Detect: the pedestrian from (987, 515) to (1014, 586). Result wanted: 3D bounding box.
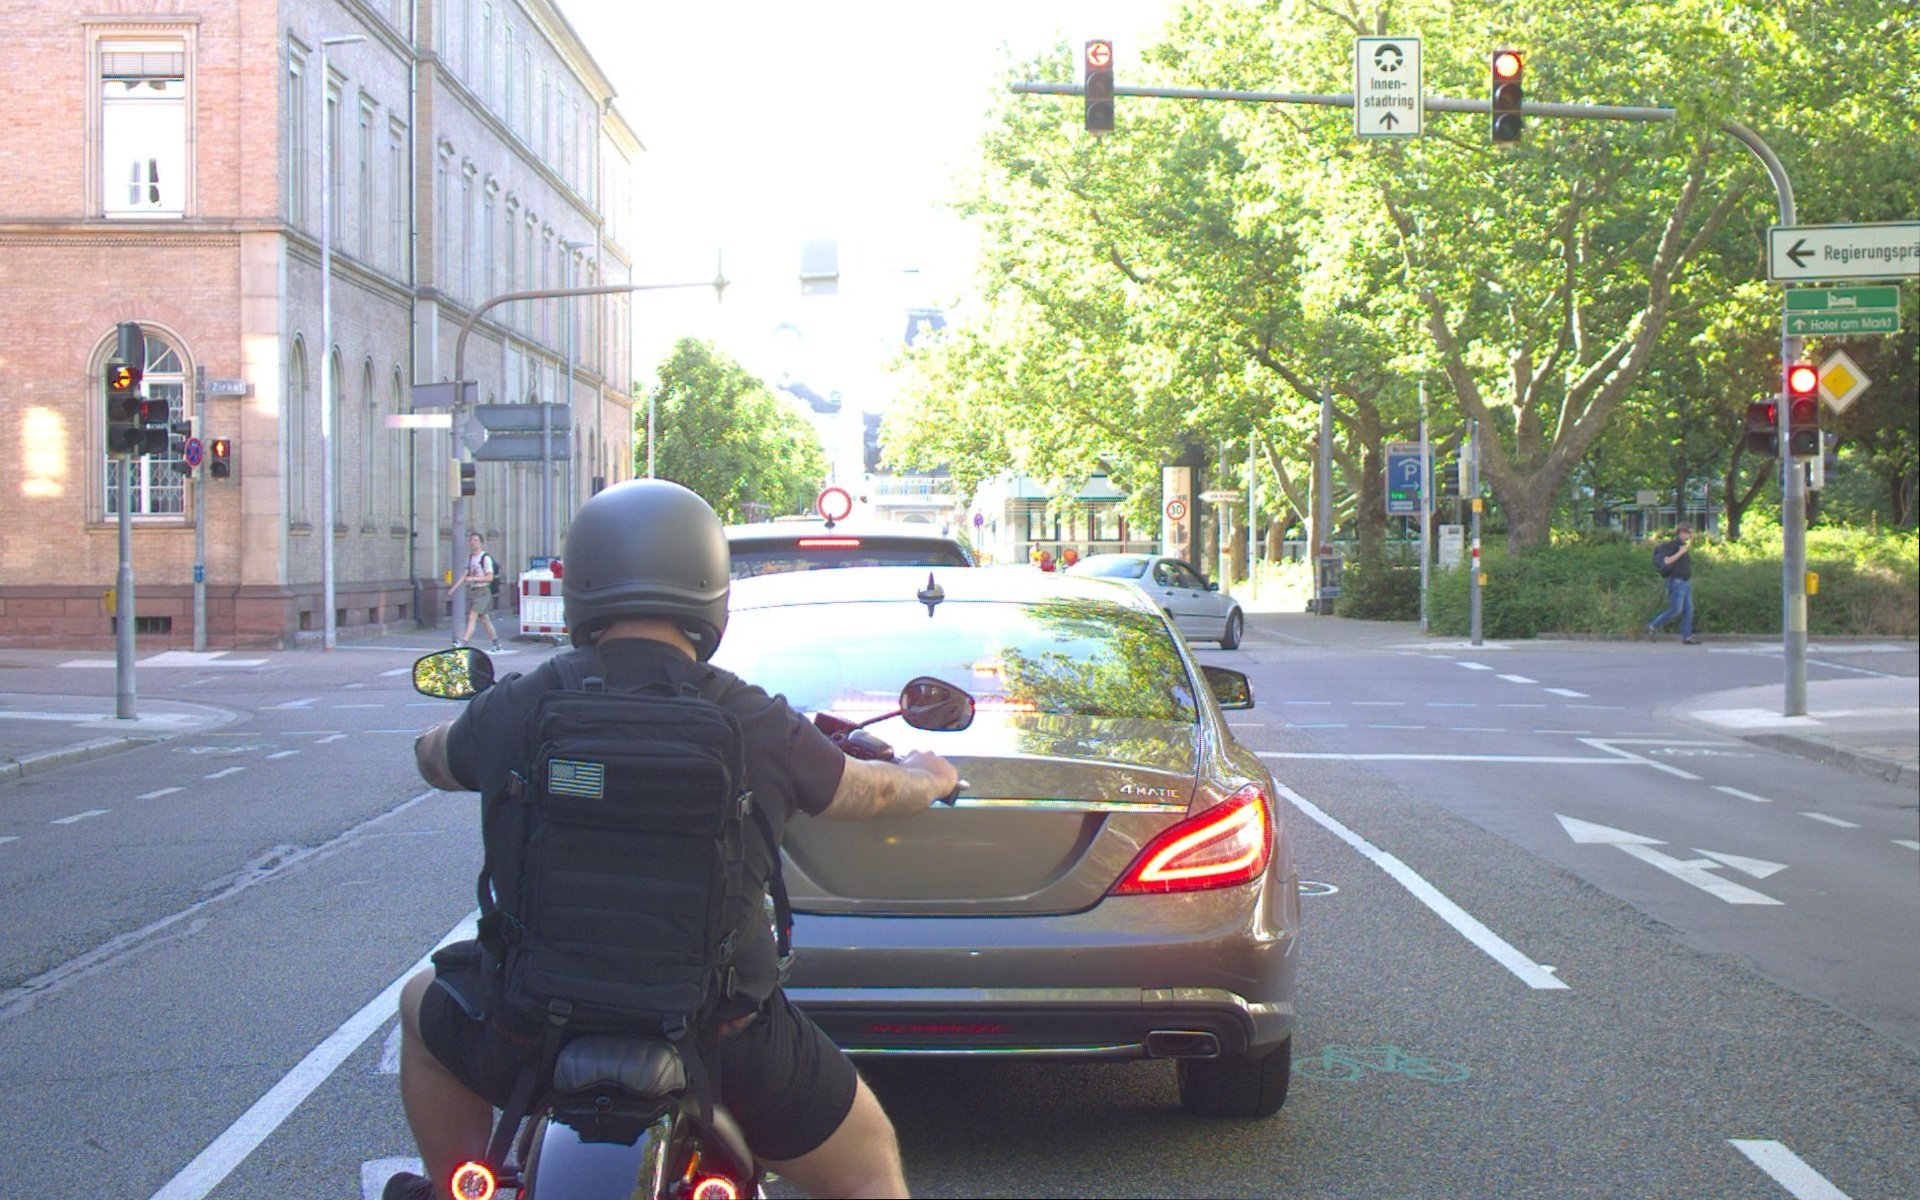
[{"bbox_3d":[1.181,-1.451,100.895,0.764,2.044,0.712,1,0,-1],"label":"pedestrian"}]

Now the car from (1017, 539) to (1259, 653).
[{"bbox_3d":[2.632,-0.064,49.983,1.855,1.569,4.129,1,1,29],"label":"car"}]

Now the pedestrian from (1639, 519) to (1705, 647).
[{"bbox_3d":[10.741,-0.260,51.839,0.923,1.903,0.751,1,0,14],"label":"pedestrian"}]

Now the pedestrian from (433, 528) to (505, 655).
[{"bbox_3d":[-7.174,-0.130,50.154,1.001,1.820,1.076,1,0,-9],"label":"pedestrian"}]

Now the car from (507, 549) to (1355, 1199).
[{"bbox_3d":[-0.087,0.601,9.623,1.882,1.444,3.820,1,1,-1],"label":"car"}]

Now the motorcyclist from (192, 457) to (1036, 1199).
[{"bbox_3d":[-0.488,0.601,5.384,1.149,1.593,1.288,1,0,-1],"label":"motorcyclist"}]

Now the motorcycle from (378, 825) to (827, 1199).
[{"bbox_3d":[-0.500,0.932,5.398,0.513,0.999,2.013,1,1,-1],"label":"motorcycle"}]

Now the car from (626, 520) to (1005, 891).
[{"bbox_3d":[-0.641,0.416,16.739,1.621,1.588,4.000,0,1,-1],"label":"car"}]
